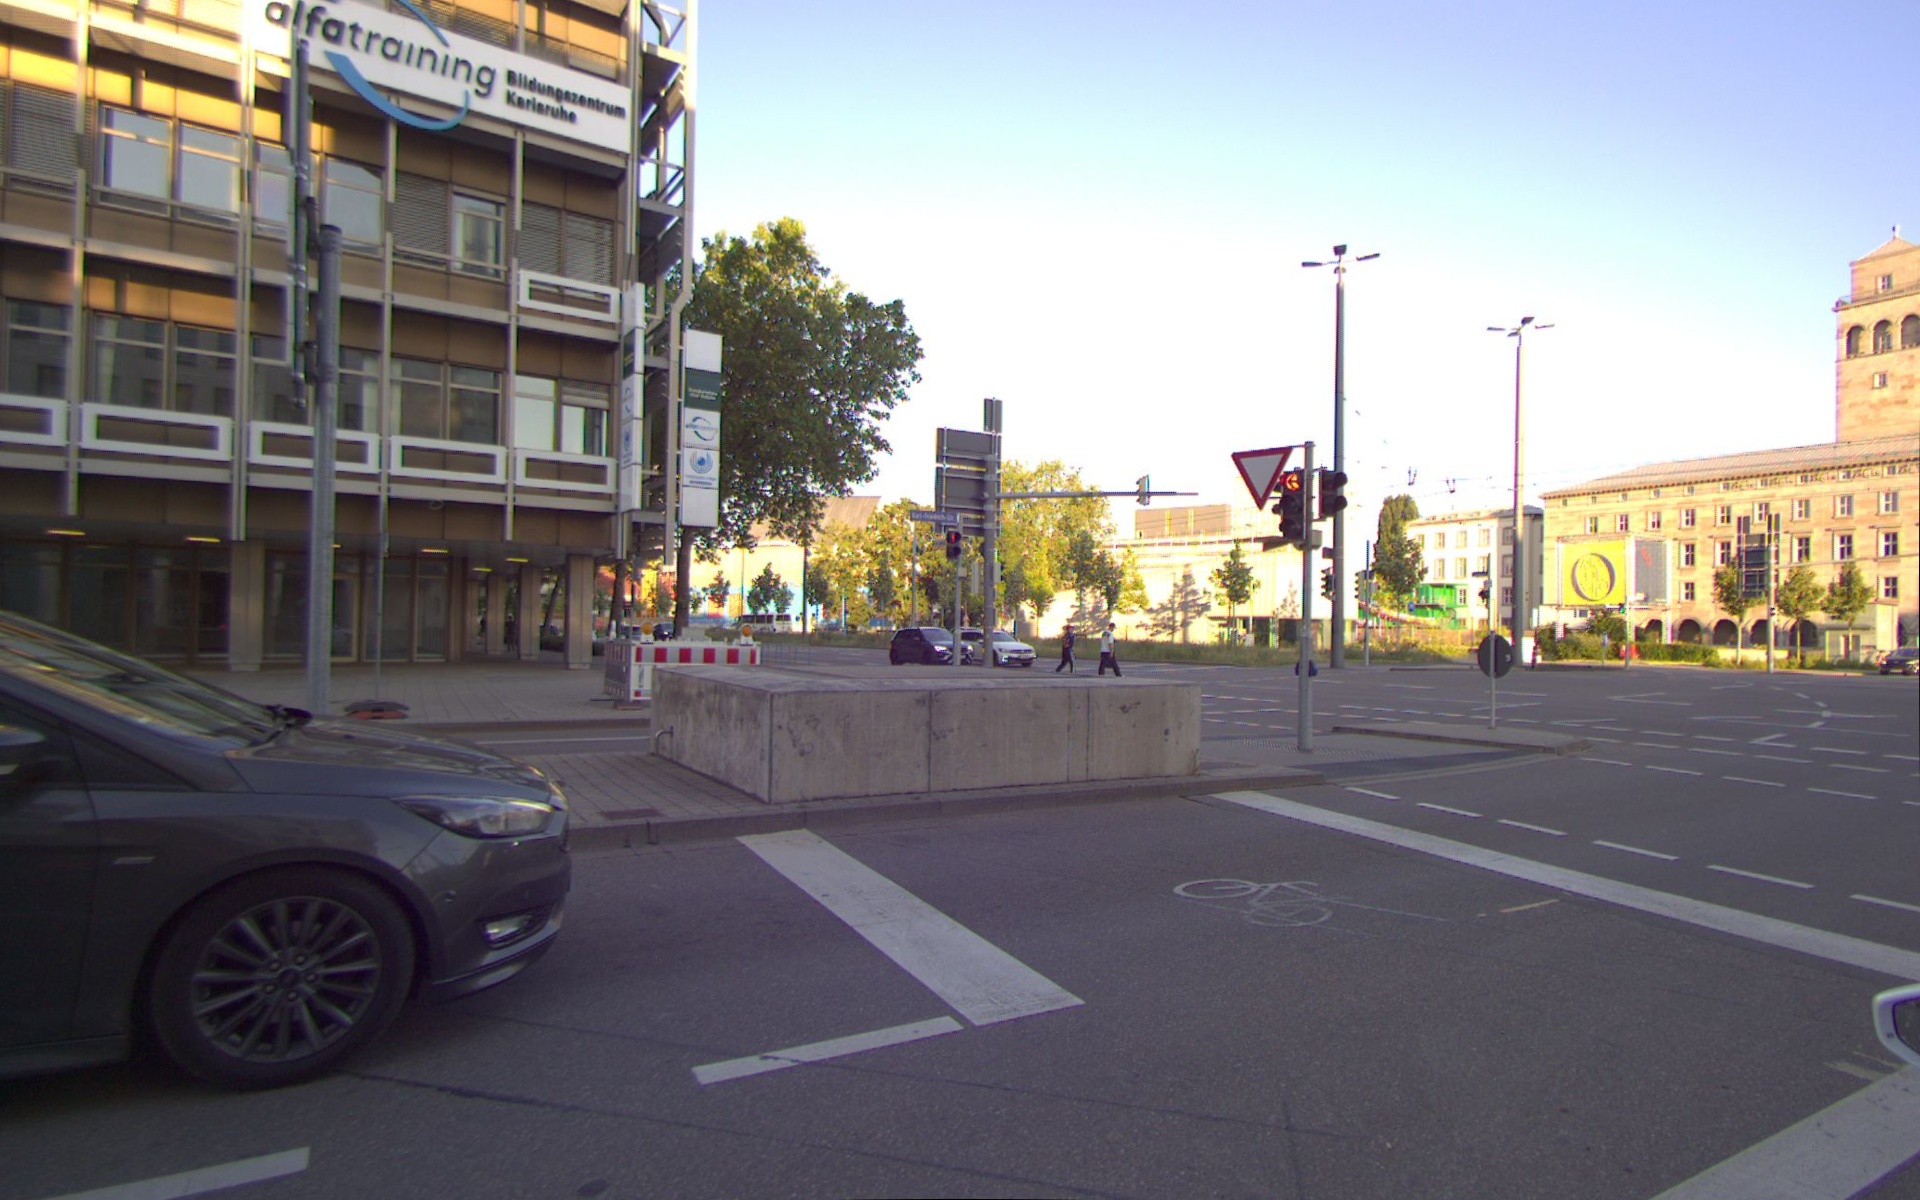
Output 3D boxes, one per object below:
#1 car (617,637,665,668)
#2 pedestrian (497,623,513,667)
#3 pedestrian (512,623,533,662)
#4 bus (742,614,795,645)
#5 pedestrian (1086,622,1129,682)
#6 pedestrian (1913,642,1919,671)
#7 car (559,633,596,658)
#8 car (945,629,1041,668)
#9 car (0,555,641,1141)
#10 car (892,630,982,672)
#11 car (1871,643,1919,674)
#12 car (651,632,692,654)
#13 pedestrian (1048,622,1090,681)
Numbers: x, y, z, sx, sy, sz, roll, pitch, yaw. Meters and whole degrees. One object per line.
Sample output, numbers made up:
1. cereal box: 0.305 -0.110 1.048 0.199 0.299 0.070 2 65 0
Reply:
1. car: -18.306 2.959 57.524 1.722 1.605 4.555 1 -1 -30
2. pedestrian: -21.667 2.152 47.817 0.512 2.040 0.576 3 0 -34
3. pedestrian: -20.986 2.055 48.197 0.749 1.830 0.715 3 0 -34
4. bus: -24.739 3.716 129.321 2.959 3.818 10.342 2 -2 -34
5. pedestrian: 4.352 1.525 29.600 0.949 1.743 0.816 2 -1 -34
6. pedestrian: 58.718 3.469 61.376 0.455 1.767 0.617 3 0 -35
7. car: -26.213 3.082 68.830 1.722 1.605 3.764 1 -1 -31
8. car: 1.268 1.945 41.088 1.829 1.476 4.555 1 -1 -30
9. car: -3.368 0.599 2.975 4.330 1.482 1.748 2 0 -31
10. car: -0.956 1.913 38.590 1.829 1.476 3.921 1 -1 -30
11. car: 49.691 3.047 52.667 4.111 1.485 1.813 1 -1 -32
12. car: -23.102 3.425 80.403 1.833 1.605 4.546 1 -1 -35
13. pedestrian: 3.305 1.531 30.347 0.949 1.743 0.816 2 -1 -34
